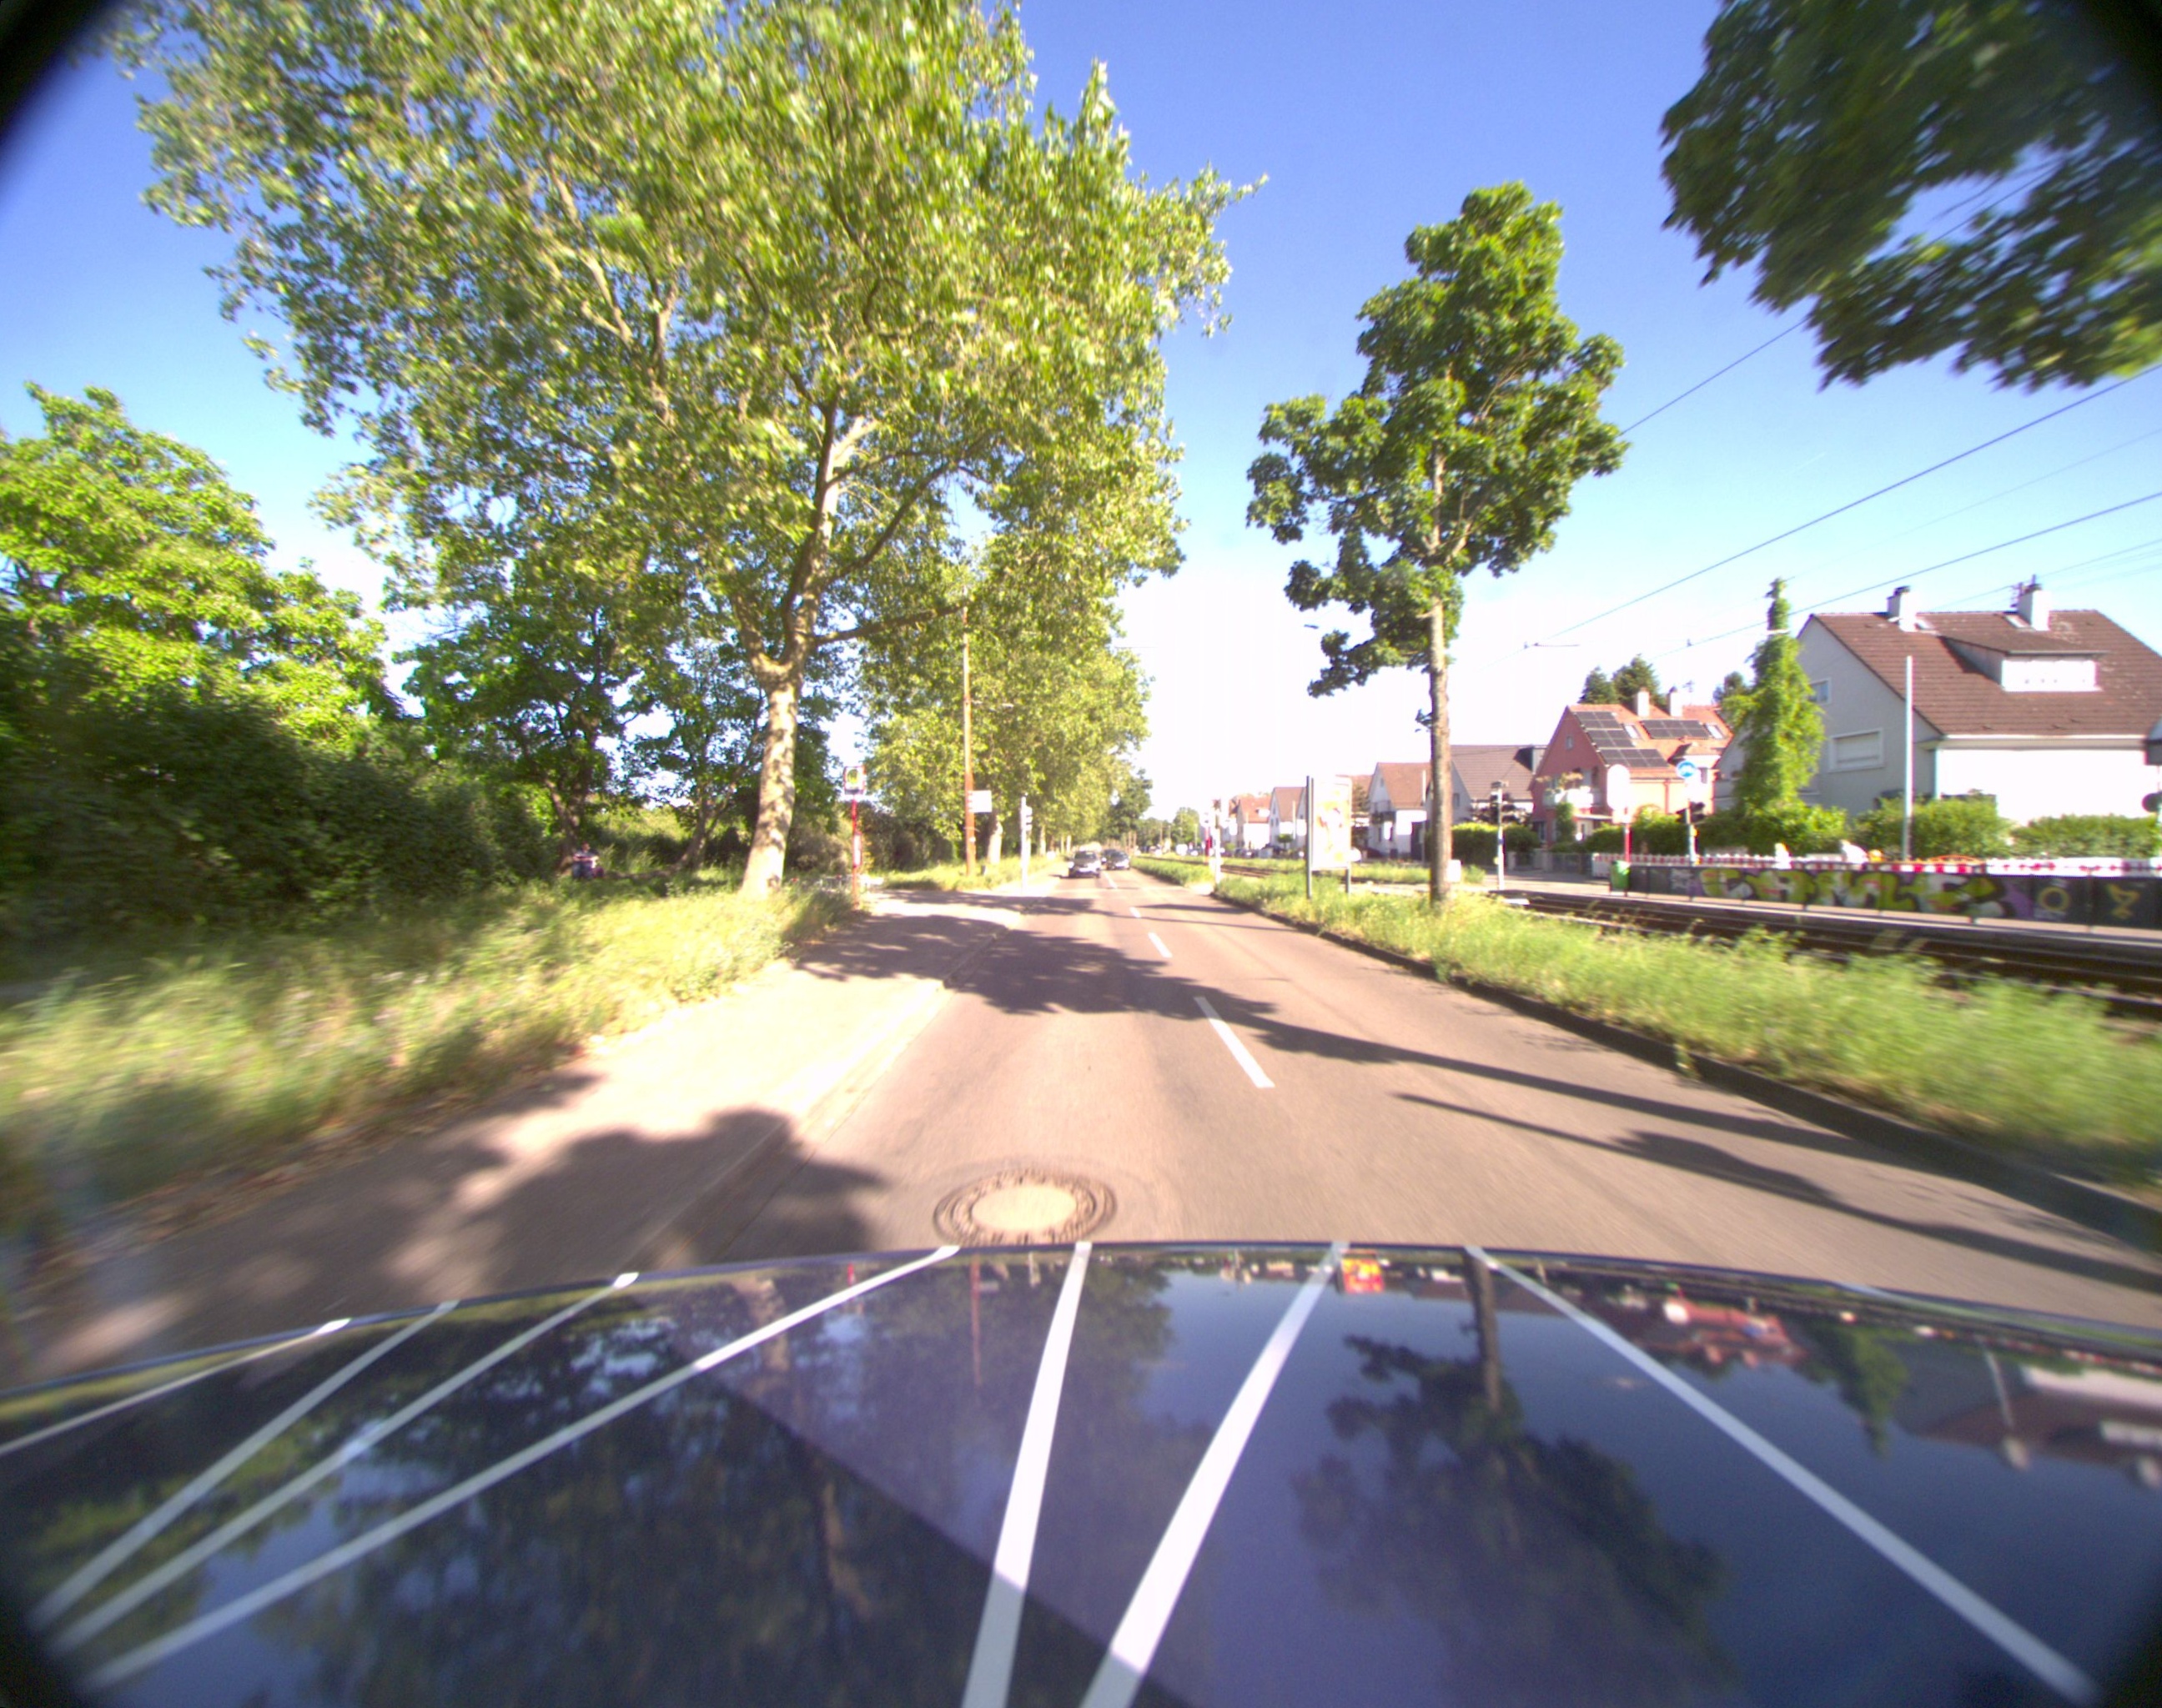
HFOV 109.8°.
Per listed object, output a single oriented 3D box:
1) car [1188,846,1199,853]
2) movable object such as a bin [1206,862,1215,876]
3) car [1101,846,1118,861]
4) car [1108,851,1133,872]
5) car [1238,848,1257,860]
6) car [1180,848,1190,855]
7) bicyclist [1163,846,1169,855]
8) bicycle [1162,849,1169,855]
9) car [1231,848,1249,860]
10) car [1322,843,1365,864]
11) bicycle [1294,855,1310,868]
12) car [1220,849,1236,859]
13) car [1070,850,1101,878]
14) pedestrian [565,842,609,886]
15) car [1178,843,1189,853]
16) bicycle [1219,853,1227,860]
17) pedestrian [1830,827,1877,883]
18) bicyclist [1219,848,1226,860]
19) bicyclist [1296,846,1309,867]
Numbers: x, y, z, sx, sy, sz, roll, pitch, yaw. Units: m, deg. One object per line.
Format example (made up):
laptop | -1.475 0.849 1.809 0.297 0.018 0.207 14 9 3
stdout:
car | 23.476 -0.920 158.355 1.791 1.497 3.999 -2 1 1
movable object such as a bin | 5.708 0.652 33.445 0.387 0.579 0.379 1 2 9
car | 3.035 -0.059 81.671 1.692 1.499 3.582 -2 1 1
car | 3.019 0.535 58.501 1.692 1.499 3.582 -2 1 1
car | 22.750 -0.026 104.074 1.738 1.481 3.755 -2 1 1
car | 23.593 -0.552 172.180 1.791 1.497 4.000 -2 1 4
bicyclist | 21.689 -0.994 193.788 1.310 2.220 1.623 -2 1 1
bicycle | 21.700 -0.415 194.154 1.354 1.486 3.999 -2 1 1
car | 22.646 -0.057 108.164 1.802 1.588 4.011 -2 1 1
car | 22.363 -0.042 64.874 1.998 1.668 4.838 -2 1 1
bicycle | 20.398 0.710 70.102 0.854 1.128 2.309 -2 1 1
car | 23.290 -0.031 120.641 1.756 1.373 3.823 -2 1 1
car | 0.296 0.559 43.682 1.692 1.499 3.582 -1 1 1
pedestrian | -14.005 0.283 21.554 0.735 1.213 0.689 -2 1 -3
car | 23.850 -1.323 177.059 2.132 2.210 4.000 -2 1 4
bicycle | 20.325 0.389 108.773 0.854 0.946 2.309 -2 1 1
pedestrian | 21.503 0.041 21.152 0.815 1.525 0.792 0 -1 -37
bicyclist | 20.283 -0.016 108.697 0.853 1.665 0.837 -2 1 2
bicyclist | 20.382 0.192 70.042 0.854 1.876 1.072 -2 1 1
